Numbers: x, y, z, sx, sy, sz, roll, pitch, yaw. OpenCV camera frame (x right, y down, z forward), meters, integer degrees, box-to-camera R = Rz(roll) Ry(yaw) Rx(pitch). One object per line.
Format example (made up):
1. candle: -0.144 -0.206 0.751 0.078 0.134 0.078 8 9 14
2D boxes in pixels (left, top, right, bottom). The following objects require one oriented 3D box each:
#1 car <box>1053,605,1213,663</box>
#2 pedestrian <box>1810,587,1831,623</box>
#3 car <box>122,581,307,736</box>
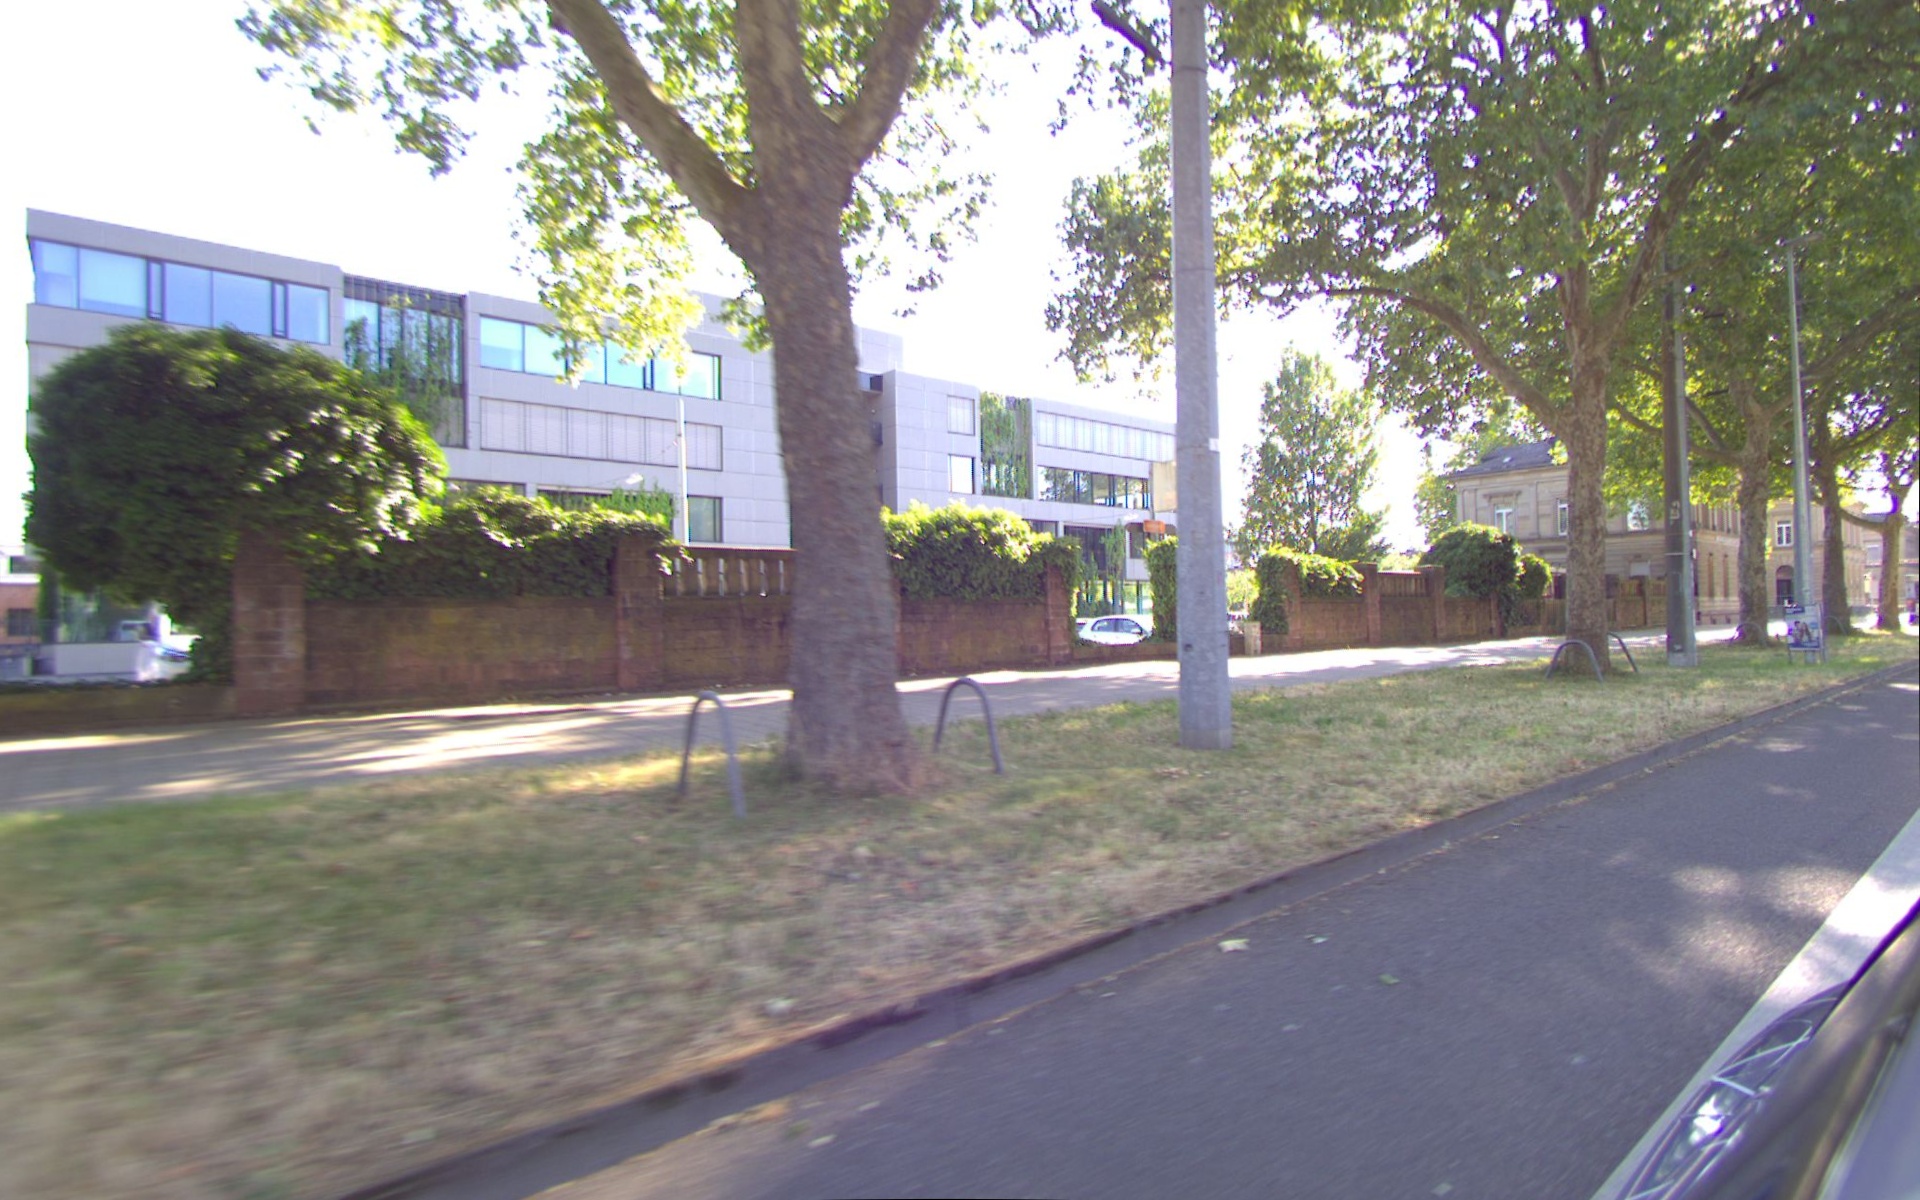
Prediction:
1. car: 4.941 0.955 29.196 4.099 1.541 2.012 -2 -1 41
2. pedestrian: 42.173 0.227 49.600 0.769 1.766 0.784 0 0 43
3. car: -11.795 0.855 15.838 1.965 2.008 5.270 0 -2 -40
